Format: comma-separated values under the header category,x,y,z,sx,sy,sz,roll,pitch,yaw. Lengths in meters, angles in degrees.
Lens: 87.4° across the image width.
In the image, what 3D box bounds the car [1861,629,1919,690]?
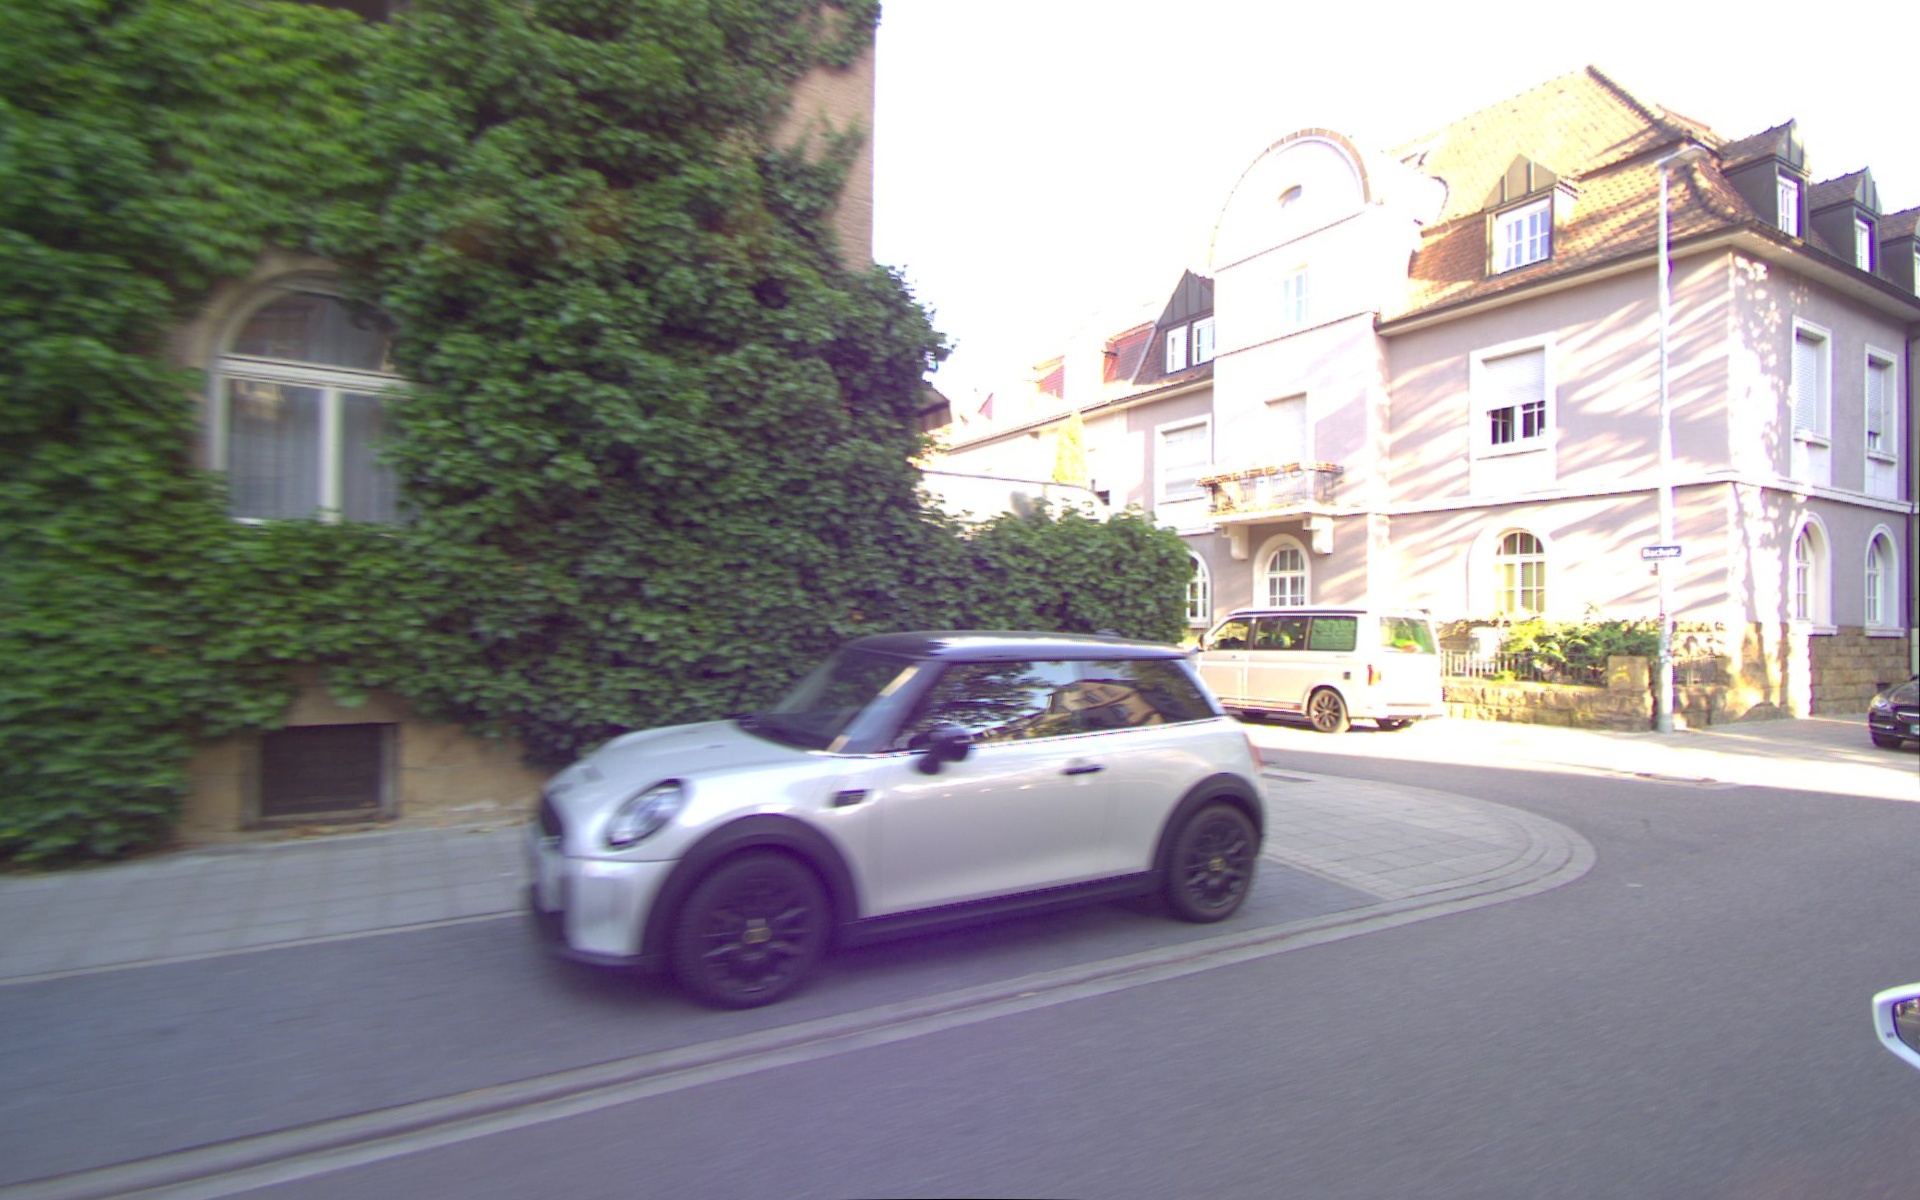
category,x,y,z,sx,sy,sz,roll,pitch,yaw
car,27.298,1.636,27.307,1.878,1.643,3.840,1,-1,-33

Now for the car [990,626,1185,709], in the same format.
category,x,y,z,sx,sy,sz,roll,pitch,yaw
car,2.687,1.433,22.151,1.979,1.608,4.268,4,-3,-32

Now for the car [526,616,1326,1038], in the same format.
category,x,y,z,sx,sy,sz,roll,pitch,yaw
car,-0.100,0.861,5.287,3.870,1.480,1.696,1,0,-29

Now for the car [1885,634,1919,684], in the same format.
category,x,y,z,sx,sy,sz,roll,pitch,yaw
car,29.393,1.741,28.911,1.618,1.463,3.840,1,-1,-33

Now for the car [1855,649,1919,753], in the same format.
category,x,y,z,sx,sy,sz,roll,pitch,yaw
car,14.478,1.407,14.058,3.995,1.341,1.647,2,0,-28

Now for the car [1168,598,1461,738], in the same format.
category,x,y,z,sx,sy,sz,roll,pitch,yaw
car,5.807,1.092,16.982,1.979,2.040,4.377,4,-3,-32
